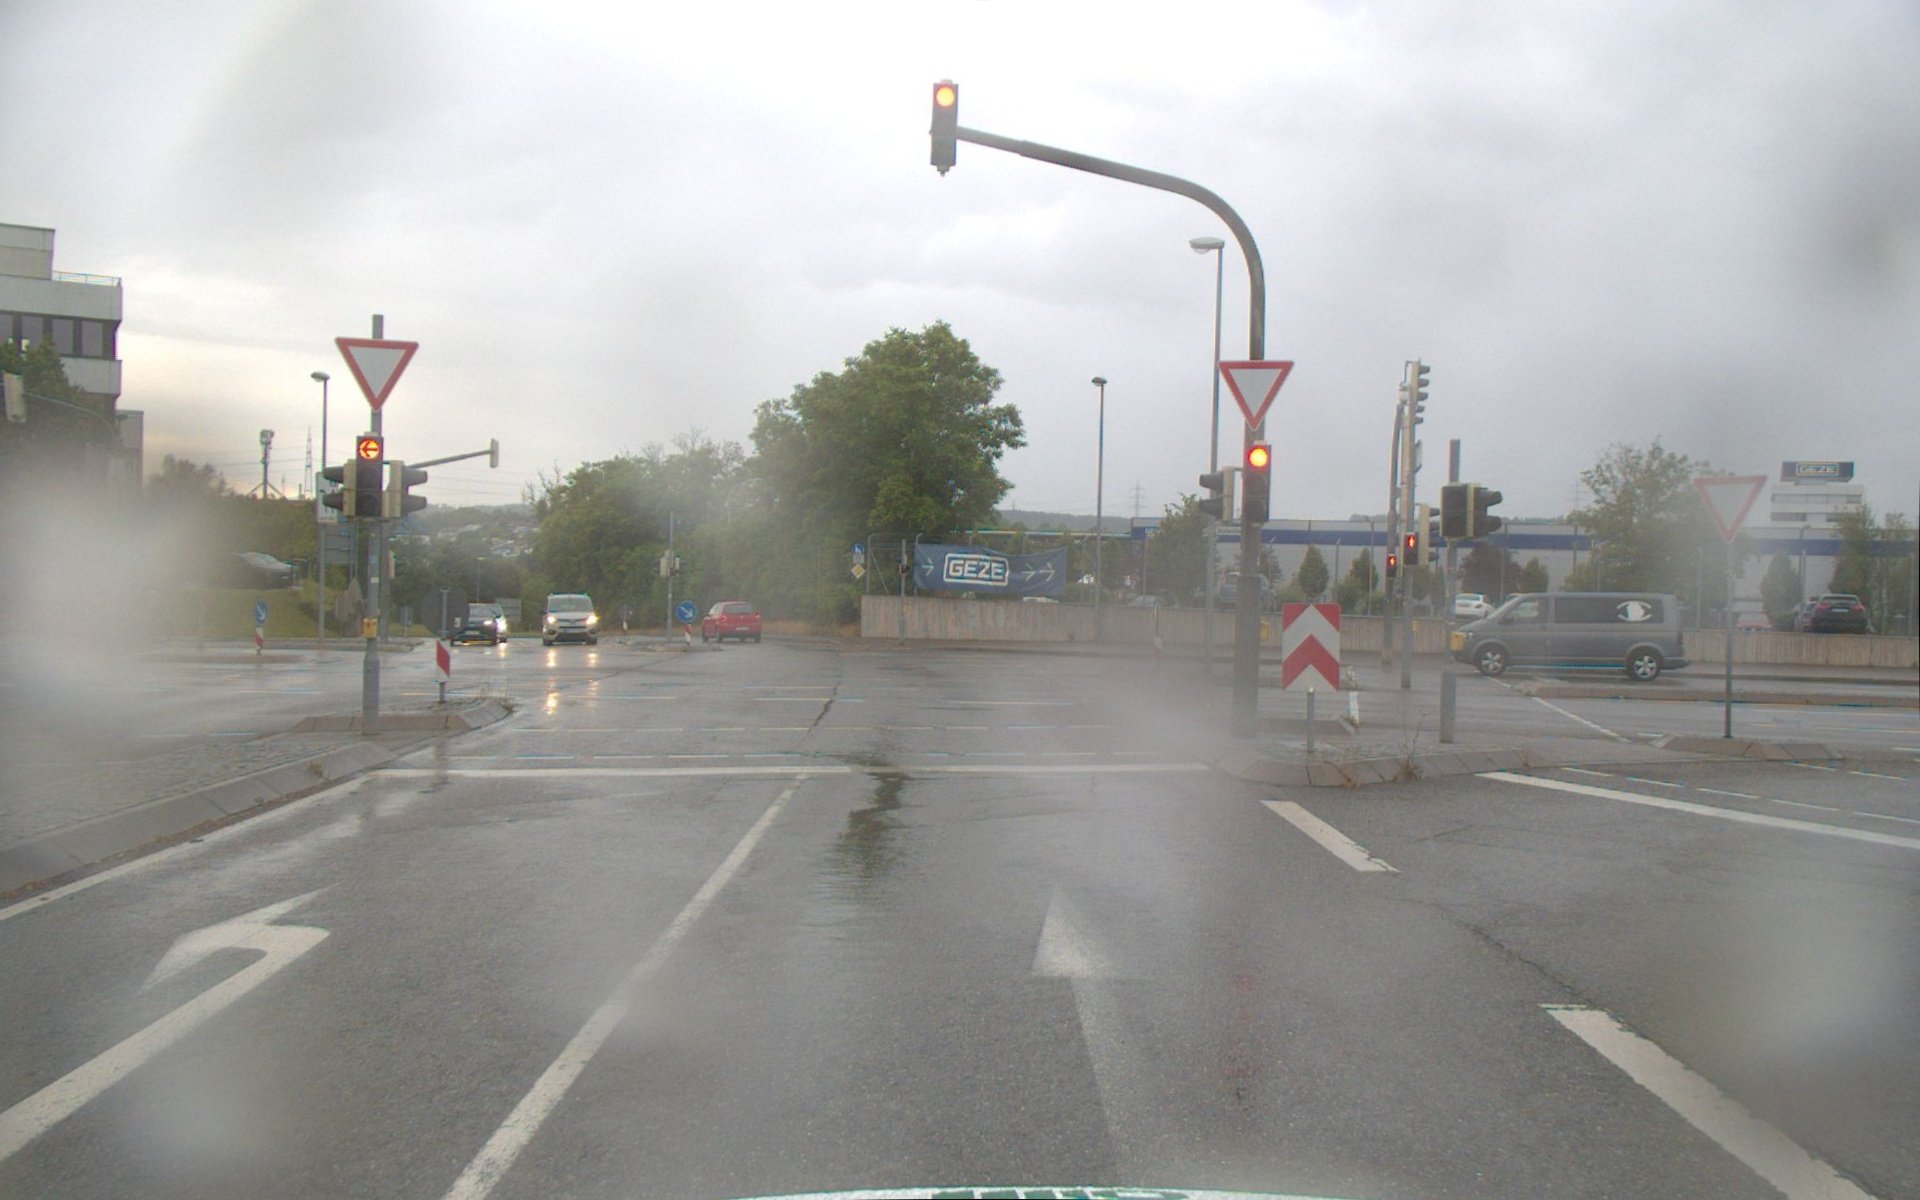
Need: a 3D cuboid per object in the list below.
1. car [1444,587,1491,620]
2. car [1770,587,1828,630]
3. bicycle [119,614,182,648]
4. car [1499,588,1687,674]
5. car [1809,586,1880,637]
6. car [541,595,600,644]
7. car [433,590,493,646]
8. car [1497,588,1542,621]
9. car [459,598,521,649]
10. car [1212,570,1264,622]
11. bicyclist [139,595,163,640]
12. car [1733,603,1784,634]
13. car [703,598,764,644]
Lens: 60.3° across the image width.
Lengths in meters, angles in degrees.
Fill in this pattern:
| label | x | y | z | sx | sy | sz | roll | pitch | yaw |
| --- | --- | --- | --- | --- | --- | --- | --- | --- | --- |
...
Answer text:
| label | x | y | z | sx | sy | sz | roll | pitch | yaw |
| --- | --- | --- | --- | --- | --- | --- | --- | --- | --- |
| car | 24.458 | 0.159 | 79.627 | 1.952 | 1.504 | 4.001 | 1 | 0 | 20 |
| car | 35.447 | 0.363 | 69.879 | 1.687 | 1.745 | 3.635 | 1 | 0 | 35 |
| bicycle | -26.630 | 1.011 | 54.420 | 1.740 | 1.070 | 0.609 | 1 | 0 | -6 |
| car | 14.738 | 0.690 | 38.728 | 3.902 | 1.881 | 2.001 | 1 | 0 | 16 |
| car | 31.658 | 0.392 | 59.142 | 1.737 | 1.745 | 3.633 | 1 | 0 | 36 |
| car | -13.951 | 0.669 | 59.253 | 1.960 | 1.646 | 3.986 | 1 | 0 | -14 |
| car | -17.962 | 0.652 | 59.725 | 1.962 | 1.928 | 3.980 | 1 | -1 | -17 |
| car | 26.740 | 0.202 | 78.982 | 1.952 | 1.504 | 4.001 | 1 | 0 | 20 |
| car | -19.052 | 0.930 | 67.208 | 1.957 | 1.928 | 3.991 | 1 | 0 | -9 |
| car | 11.644 | -0.168 | 69.128 | 1.951 | 2.049 | 4.003 | 1 | 0 | 12 |
| bicyclist | -26.610 | 0.577 | 54.418 | 0.533 | 1.471 | 0.602 | 0 | 0 | -6 |
| car | 40.685 | 0.907 | 84.258 | 1.736 | 1.505 | 3.635 | 1 | 0 | 35 |
| car | -8.363 | 0.761 | 60.911 | 1.590 | 1.474 | 3.788 | 2 | 1 | -18 |
